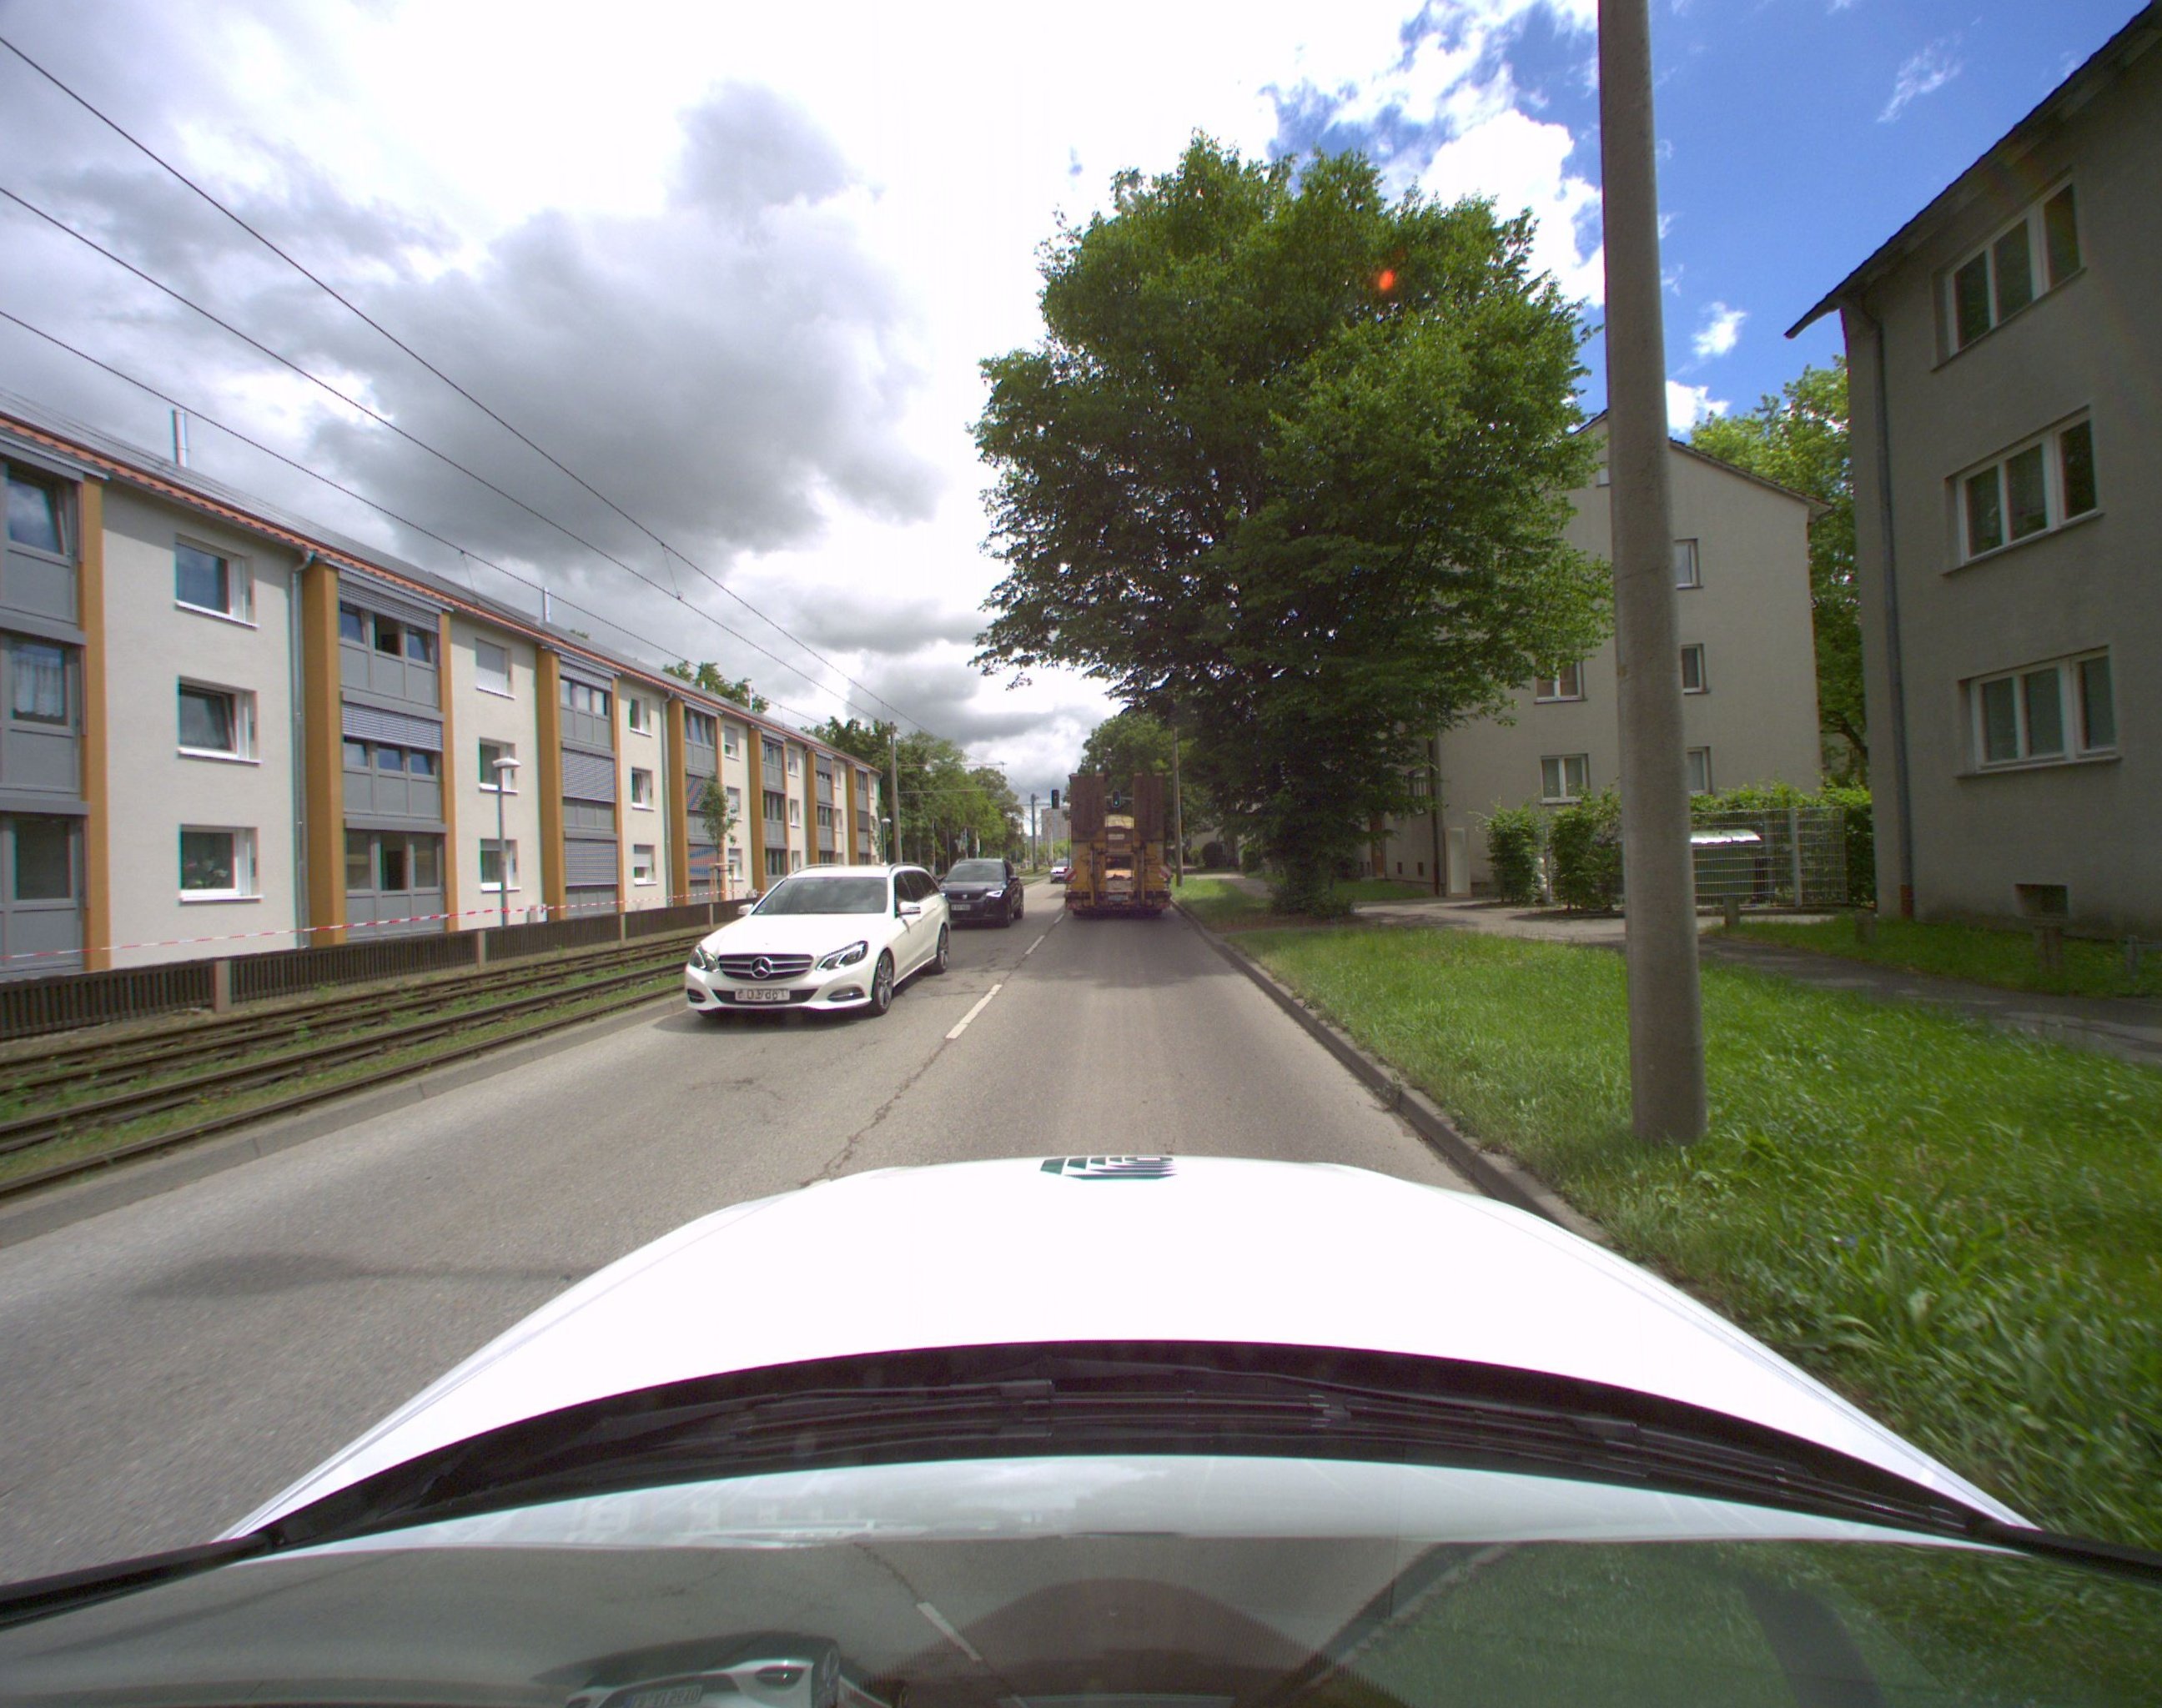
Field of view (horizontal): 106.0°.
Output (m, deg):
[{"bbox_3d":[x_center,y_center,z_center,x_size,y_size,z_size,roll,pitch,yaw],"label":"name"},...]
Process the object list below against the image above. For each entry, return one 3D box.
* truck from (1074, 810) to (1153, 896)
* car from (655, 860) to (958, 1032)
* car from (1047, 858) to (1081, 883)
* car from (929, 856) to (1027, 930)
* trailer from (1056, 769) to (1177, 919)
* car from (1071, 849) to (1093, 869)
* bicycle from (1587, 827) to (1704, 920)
[{"bbox_3d":[1.371,-0.022,34.162,2.906,3.167,7.684,-1,0,2],"label":"truck"},{"bbox_3d":[-2.796,0.840,9.542,1.872,1.481,4.530,-1,0,2],"label":"car"},{"bbox_3d":[-0.989,0.946,48.812,1.723,1.417,3.986,-1,0,3],"label":"car"},{"bbox_3d":[-2.310,0.838,19.223,1.644,1.520,3.868,-1,0,2],"label":"car"},{"bbox_3d":[1.015,-0.225,24.813,2.812,3.524,11.056,-1,0,2],"label":"trailer"},{"bbox_3d":[0.152,0.507,81.468,1.935,1.940,4.320,-1,0,3],"label":"car"},{"bbox_3d":[10.241,0.341,14.841,1.341,1.574,1.073,-3,0,4],"label":"bicycle"}]
